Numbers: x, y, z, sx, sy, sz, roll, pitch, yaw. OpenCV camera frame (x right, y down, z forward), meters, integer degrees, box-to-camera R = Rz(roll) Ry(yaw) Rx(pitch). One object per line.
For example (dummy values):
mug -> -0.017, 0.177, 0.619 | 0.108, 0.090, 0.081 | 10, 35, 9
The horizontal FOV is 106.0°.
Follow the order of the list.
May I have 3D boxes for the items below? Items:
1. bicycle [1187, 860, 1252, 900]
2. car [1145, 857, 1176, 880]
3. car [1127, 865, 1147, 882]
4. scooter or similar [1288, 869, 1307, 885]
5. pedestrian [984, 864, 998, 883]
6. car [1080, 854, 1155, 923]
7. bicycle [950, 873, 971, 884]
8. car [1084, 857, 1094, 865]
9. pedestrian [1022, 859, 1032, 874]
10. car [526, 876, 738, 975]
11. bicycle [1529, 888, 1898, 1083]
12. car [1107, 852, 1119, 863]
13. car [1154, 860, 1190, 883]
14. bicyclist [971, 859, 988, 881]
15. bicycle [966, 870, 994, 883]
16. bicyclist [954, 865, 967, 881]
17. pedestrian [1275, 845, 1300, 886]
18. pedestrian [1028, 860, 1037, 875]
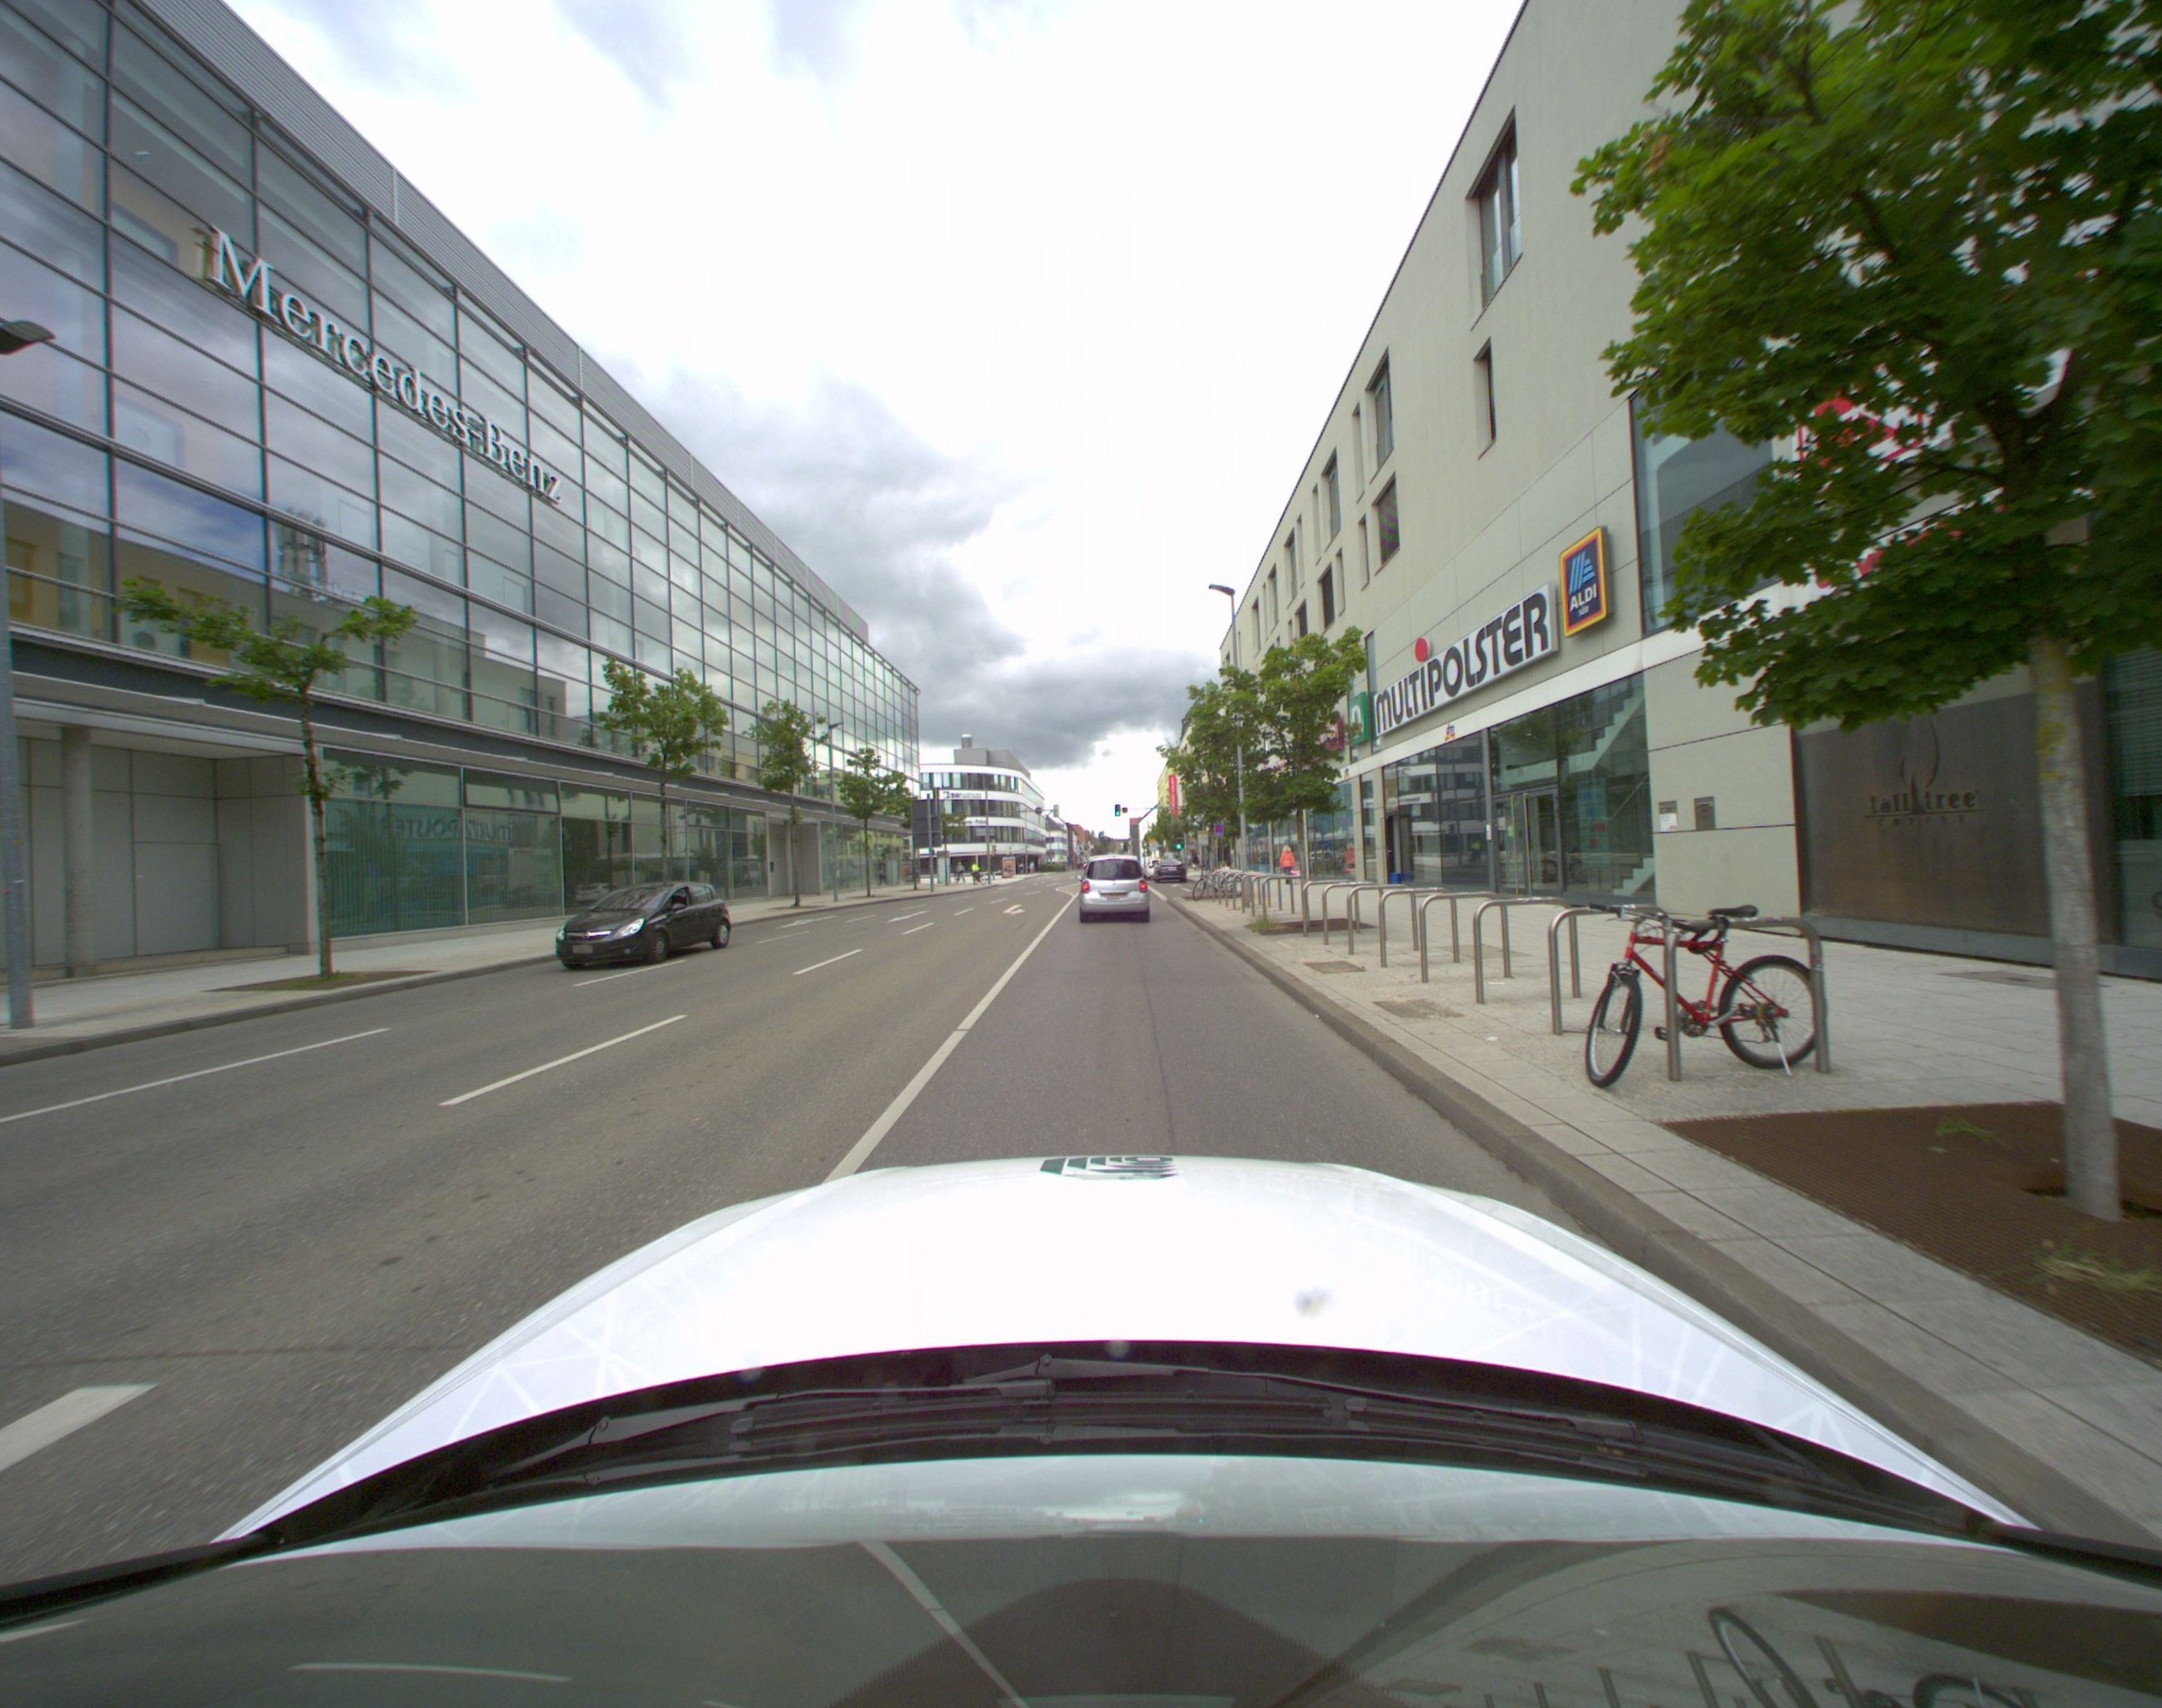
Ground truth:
bicycle -> 4.203, 0.783, 24.813 | 1.819, 1.074, 0.752 | -4, 0, 0
car -> 5.374, 0.981, 55.622 | 1.870, 1.509, 4.002 | 0, 0, 2
car -> 5.609, 1.940, 82.301 | 1.665, 1.554, 3.639 | 0, 0, -2
scooter or similar -> 8.586, 0.916, 32.283 | 0.548, 0.546, 0.643 | -6, 0, 2
pedestrian -> -9.115, 2.005, 82.319 | 1.244, 1.833, 0.962 | -3, 0, -4
car -> 0.827, 0.781, 20.310 | 1.664, 1.554, 3.641 | 0, 0, 0
bicycle -> -10.182, 2.054, 68.951 | 0.832, 0.898, 2.500 | -2, 0, -31
car -> 2.082, 1.843, 209.276 | 2.162, 2.013, 4.260 | -3, 0, 2
pedestrian -> -6.726, 1.506, 101.875 | 0.957, 1.833, 1.251 | -3, 0, 2
car -> -8.379, 1.255, 15.666 | 1.654, 1.480, 4.002 | -3, 0, 2
bicycle -> 3.667, 0.746, 4.850 | 1.553, 0.992, 0.753 | -3, 0, 5
car -> 6.076, 0.726, 155.142 | 2.162, 2.013, 4.260 | -3, 0, 2
car -> 5.420, 1.018, 49.080 | 1.870, 1.335, 4.002 | 0, 0, 2
bicyclist -> -7.991, 1.268, 64.080 | 1.013, 1.660, 0.923 | 0, -1, -32
bicycle -> -7.983, 1.741, 64.061 | 1.013, 1.018, 3.098 | 0, -1, -32
bicyclist -> -10.201, 1.603, 68.959 | 0.832, 1.327, 0.645 | -2, -1, -31
pedestrian -> 8.390, 0.450, 33.105 | 0.708, 1.574, 0.813 | -6, -1, 2
pedestrian -> -6.482, 1.806, 108.042 | 0.957, 1.833, 1.251 | -3, 0, 2
